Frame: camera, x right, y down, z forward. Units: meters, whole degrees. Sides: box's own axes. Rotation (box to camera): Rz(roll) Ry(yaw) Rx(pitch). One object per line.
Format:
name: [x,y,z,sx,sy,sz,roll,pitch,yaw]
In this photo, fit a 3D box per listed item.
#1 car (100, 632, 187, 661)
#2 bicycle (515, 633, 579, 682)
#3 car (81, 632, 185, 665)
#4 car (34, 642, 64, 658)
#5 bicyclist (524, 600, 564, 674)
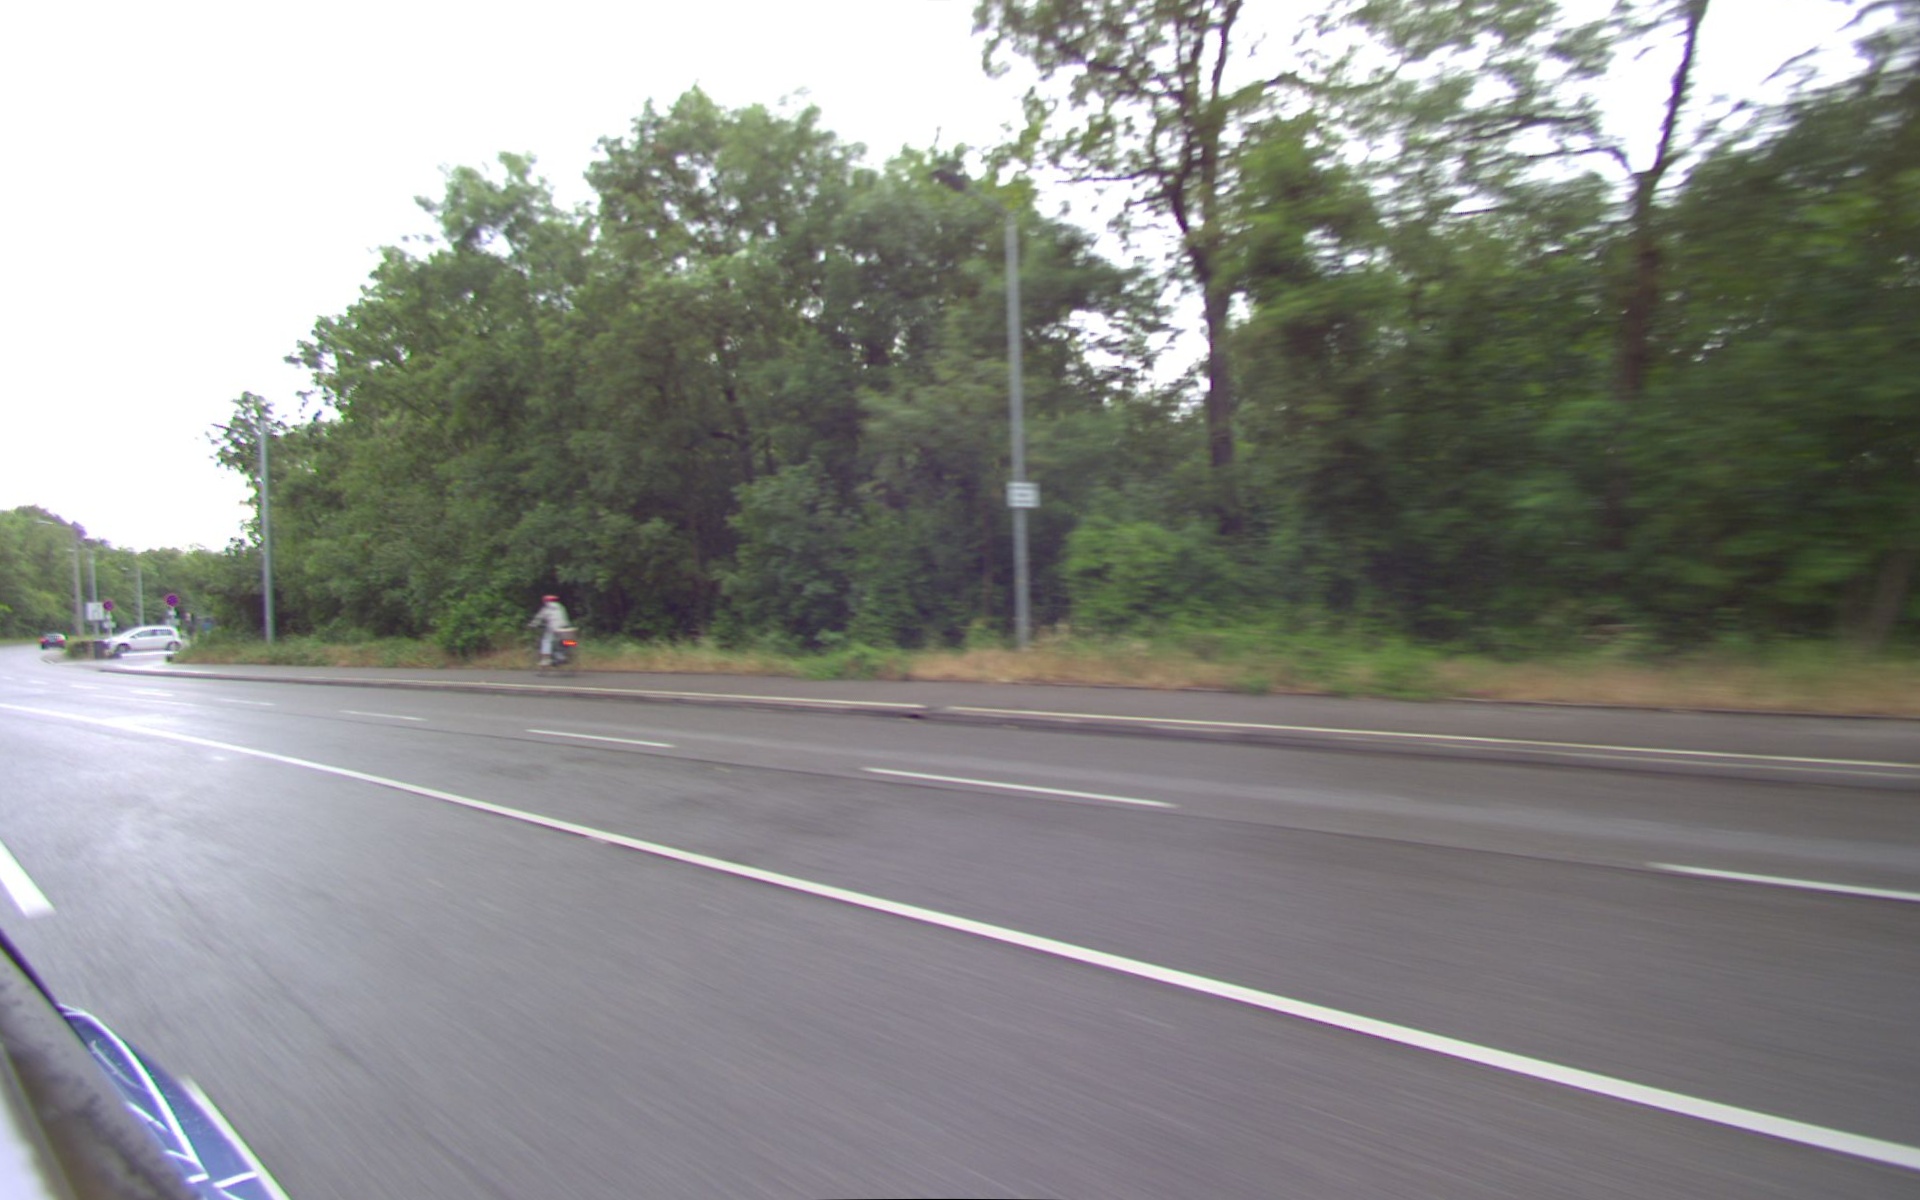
car: [-52.925,2.995,65.640,4.317,1.613,1.758,-2,0,-42]
bicycle: [-9.107,1.267,22.289,2.017,1.011,0.447,-3,0,42]
car: [-49.724,2.879,60.885,4.686,1.729,1.896,-2,0,-44]
car: [-87.734,4.794,97.519,1.828,1.484,3.921,1,-3,-37]
bicyclist: [-9.142,0.813,22.256,0.700,1.598,0.572,-2,-2,43]
